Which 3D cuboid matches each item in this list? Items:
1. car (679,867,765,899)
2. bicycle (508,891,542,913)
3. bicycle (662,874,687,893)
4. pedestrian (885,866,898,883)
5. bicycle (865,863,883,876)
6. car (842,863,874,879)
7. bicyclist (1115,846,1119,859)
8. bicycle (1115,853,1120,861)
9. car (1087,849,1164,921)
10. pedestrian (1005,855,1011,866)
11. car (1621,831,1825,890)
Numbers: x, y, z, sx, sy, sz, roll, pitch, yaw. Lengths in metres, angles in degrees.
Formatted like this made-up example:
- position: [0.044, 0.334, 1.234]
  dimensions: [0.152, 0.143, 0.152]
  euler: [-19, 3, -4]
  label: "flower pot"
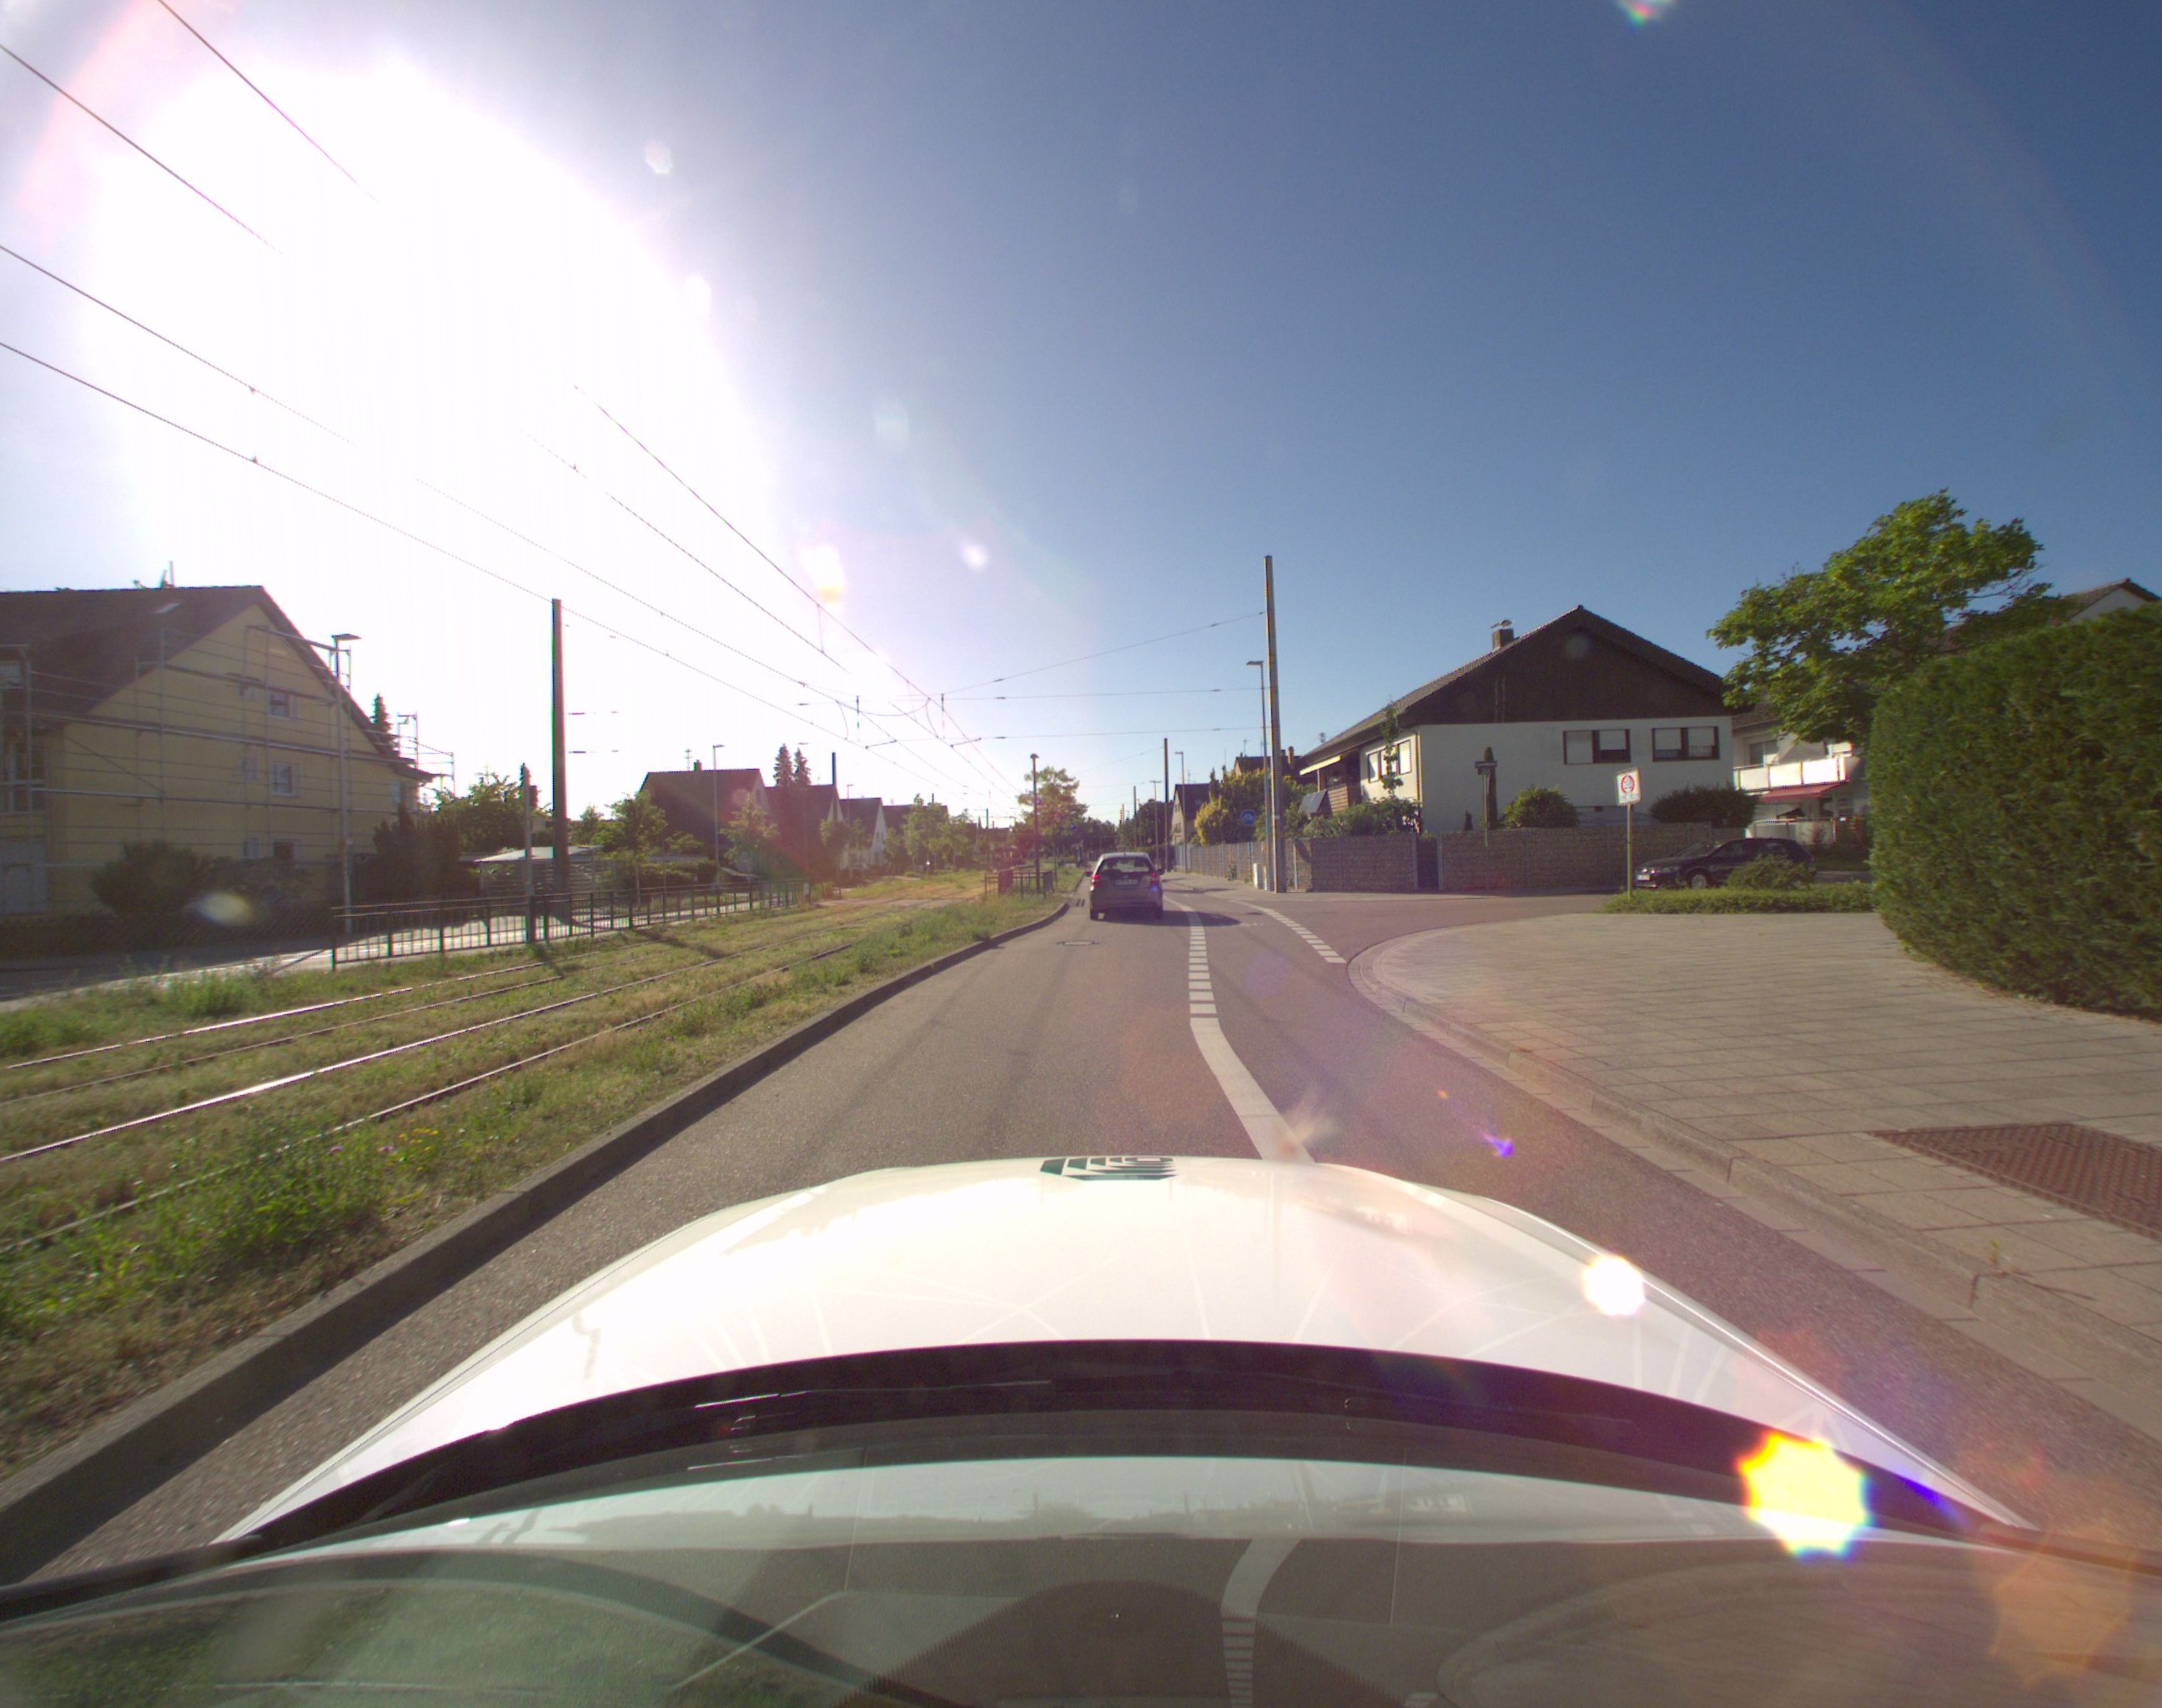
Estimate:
- position: [-22.535, 1.788, 51.266]
  dimensions: [4.542, 1.734, 2.045]
  euler: [-2, 0, -11]
  label: "car"
- position: [-22.522, 1.953, 33.018]
  dimensions: [0.310, 0.821, 1.509]
  euler: [0, -1, 1]
  label: "bicycle"
- position: [-21.430, 1.564, 42.960]
  dimensions: [0.422, 0.942, 1.749]
  euler: [-2, 0, 1]
  label: "bicycle"
- position: [-18.620, 2.053, 80.234]
  dimensions: [0.962, 1.640, 1.085]
  euler: [-2, -1, 0]
  label: "pedestrian"
- position: [-24.684, 1.849, 97.120]
  dimensions: [1.986, 1.365, 0.703]
  euler: [-2, -1, -7]
  label: "bicycle"
- position: [-23.345, 1.769, 85.429]
  dimensions: [1.928, 1.450, 5.162]
  euler: [-2, 0, 1]
  label: "car"
- position: [4.671, -0.181, 105.542]
  dimensions: [0.596, 1.701, 0.683]
  euler: [0, -1, 1]
  label: "bicyclist"
- position: [4.737, 0.388, 105.774]
  dimensions: [0.473, 0.961, 1.657]
  euler: [0, -1, 1]
  label: "bicycle"
- position: [1.074, 0.678, 19.481]
  dimensions: [1.663, 1.536, 3.490]
  euler: [-1, 0, 3]
  label: "car"
- position: [-9.979, 0.919, 111.411]
  dimensions: [0.674, 1.535, 0.748]
  euler: [-2, 0, -4]
  label: "pedestrian"
- position: [17.151, 0.177, 21.920]
  dimensions: [3.971, 1.373, 1.858]
  euler: [-2, 0, 2]
  label: "car"
